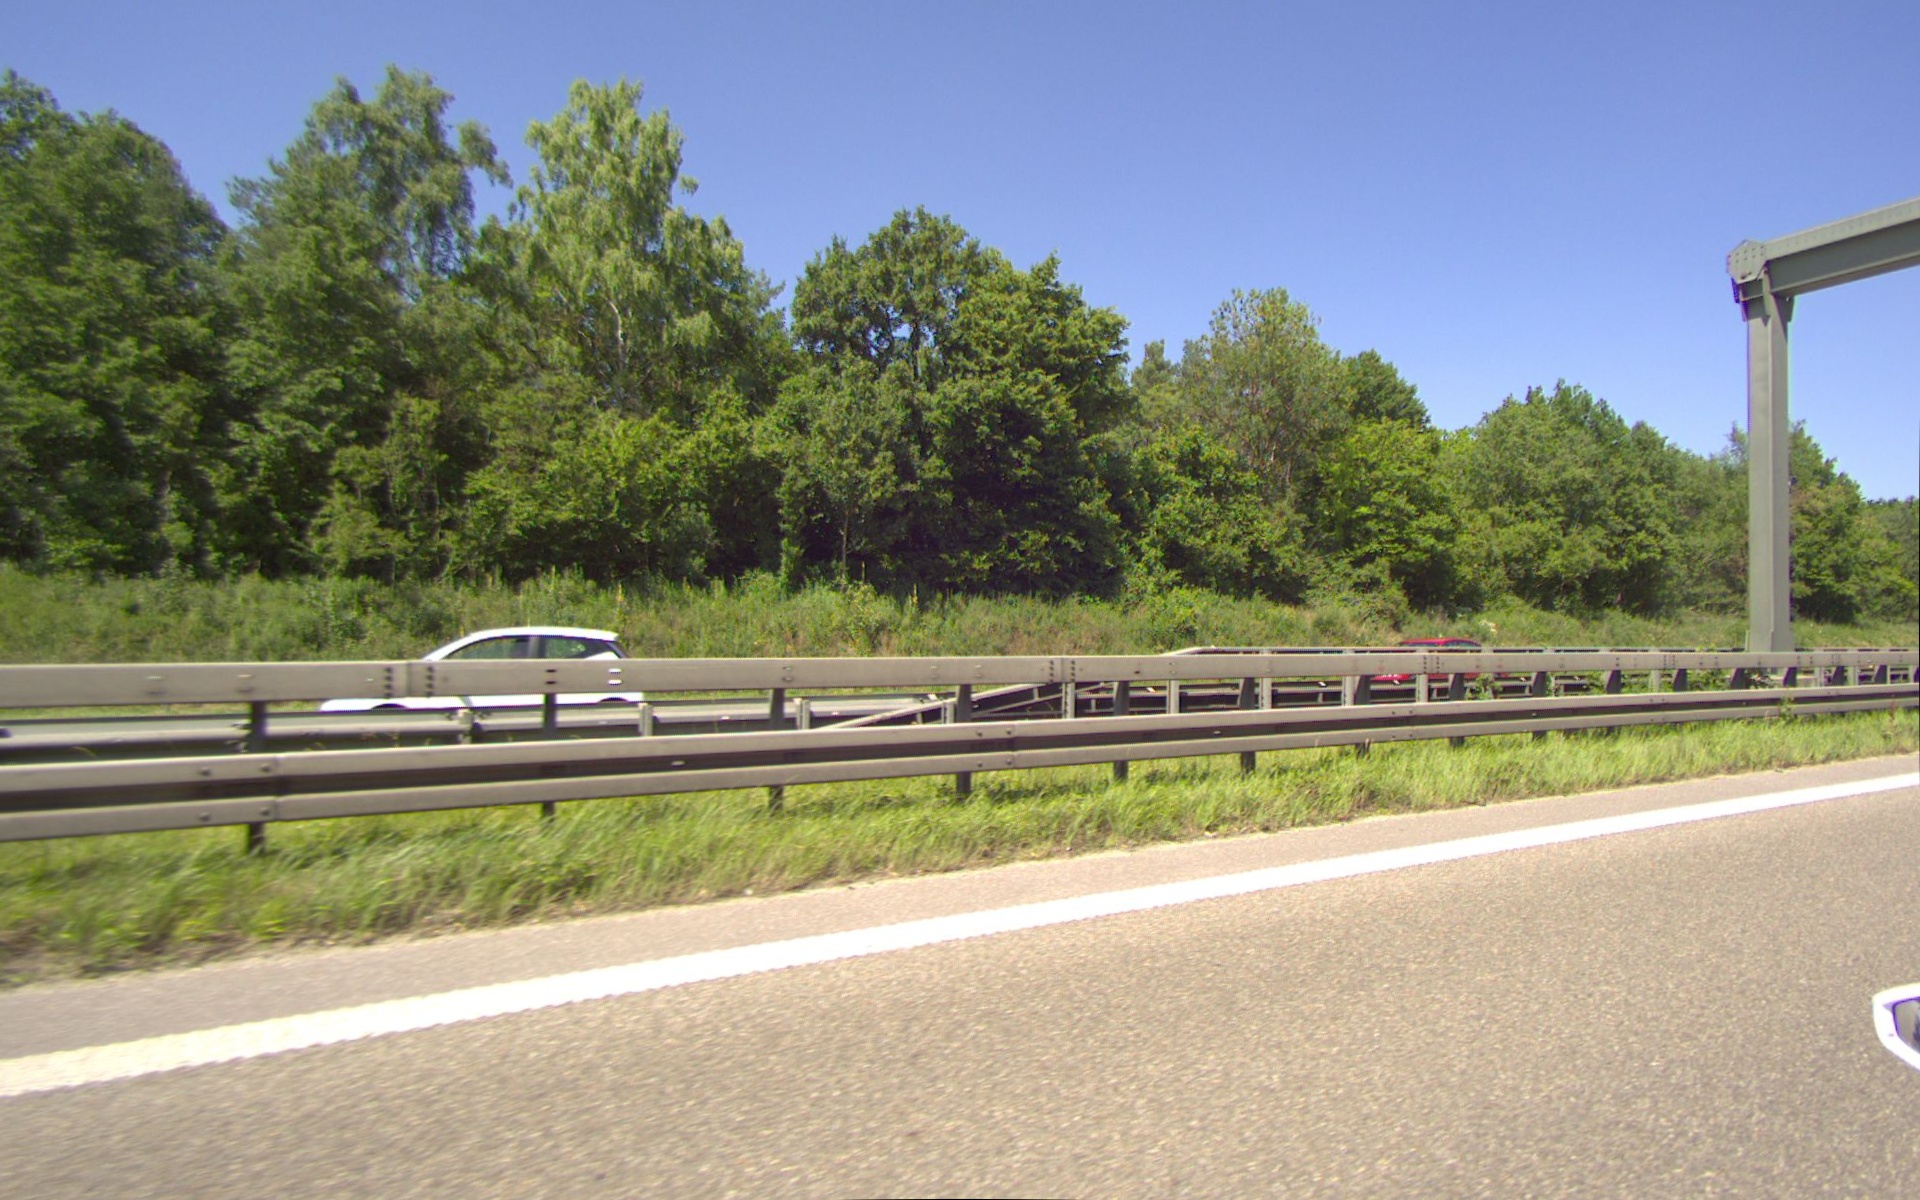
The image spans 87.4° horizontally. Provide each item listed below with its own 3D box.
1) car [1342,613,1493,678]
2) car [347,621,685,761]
[{"bbox_3d":[11.069,1.117,24.277,3.501,1.461,1.588,1,-4,-30],"label":"car"},{"bbox_3d":[-5.243,1.027,12.032,3.501,1.461,1.588,1,-4,-30],"label":"car"}]
